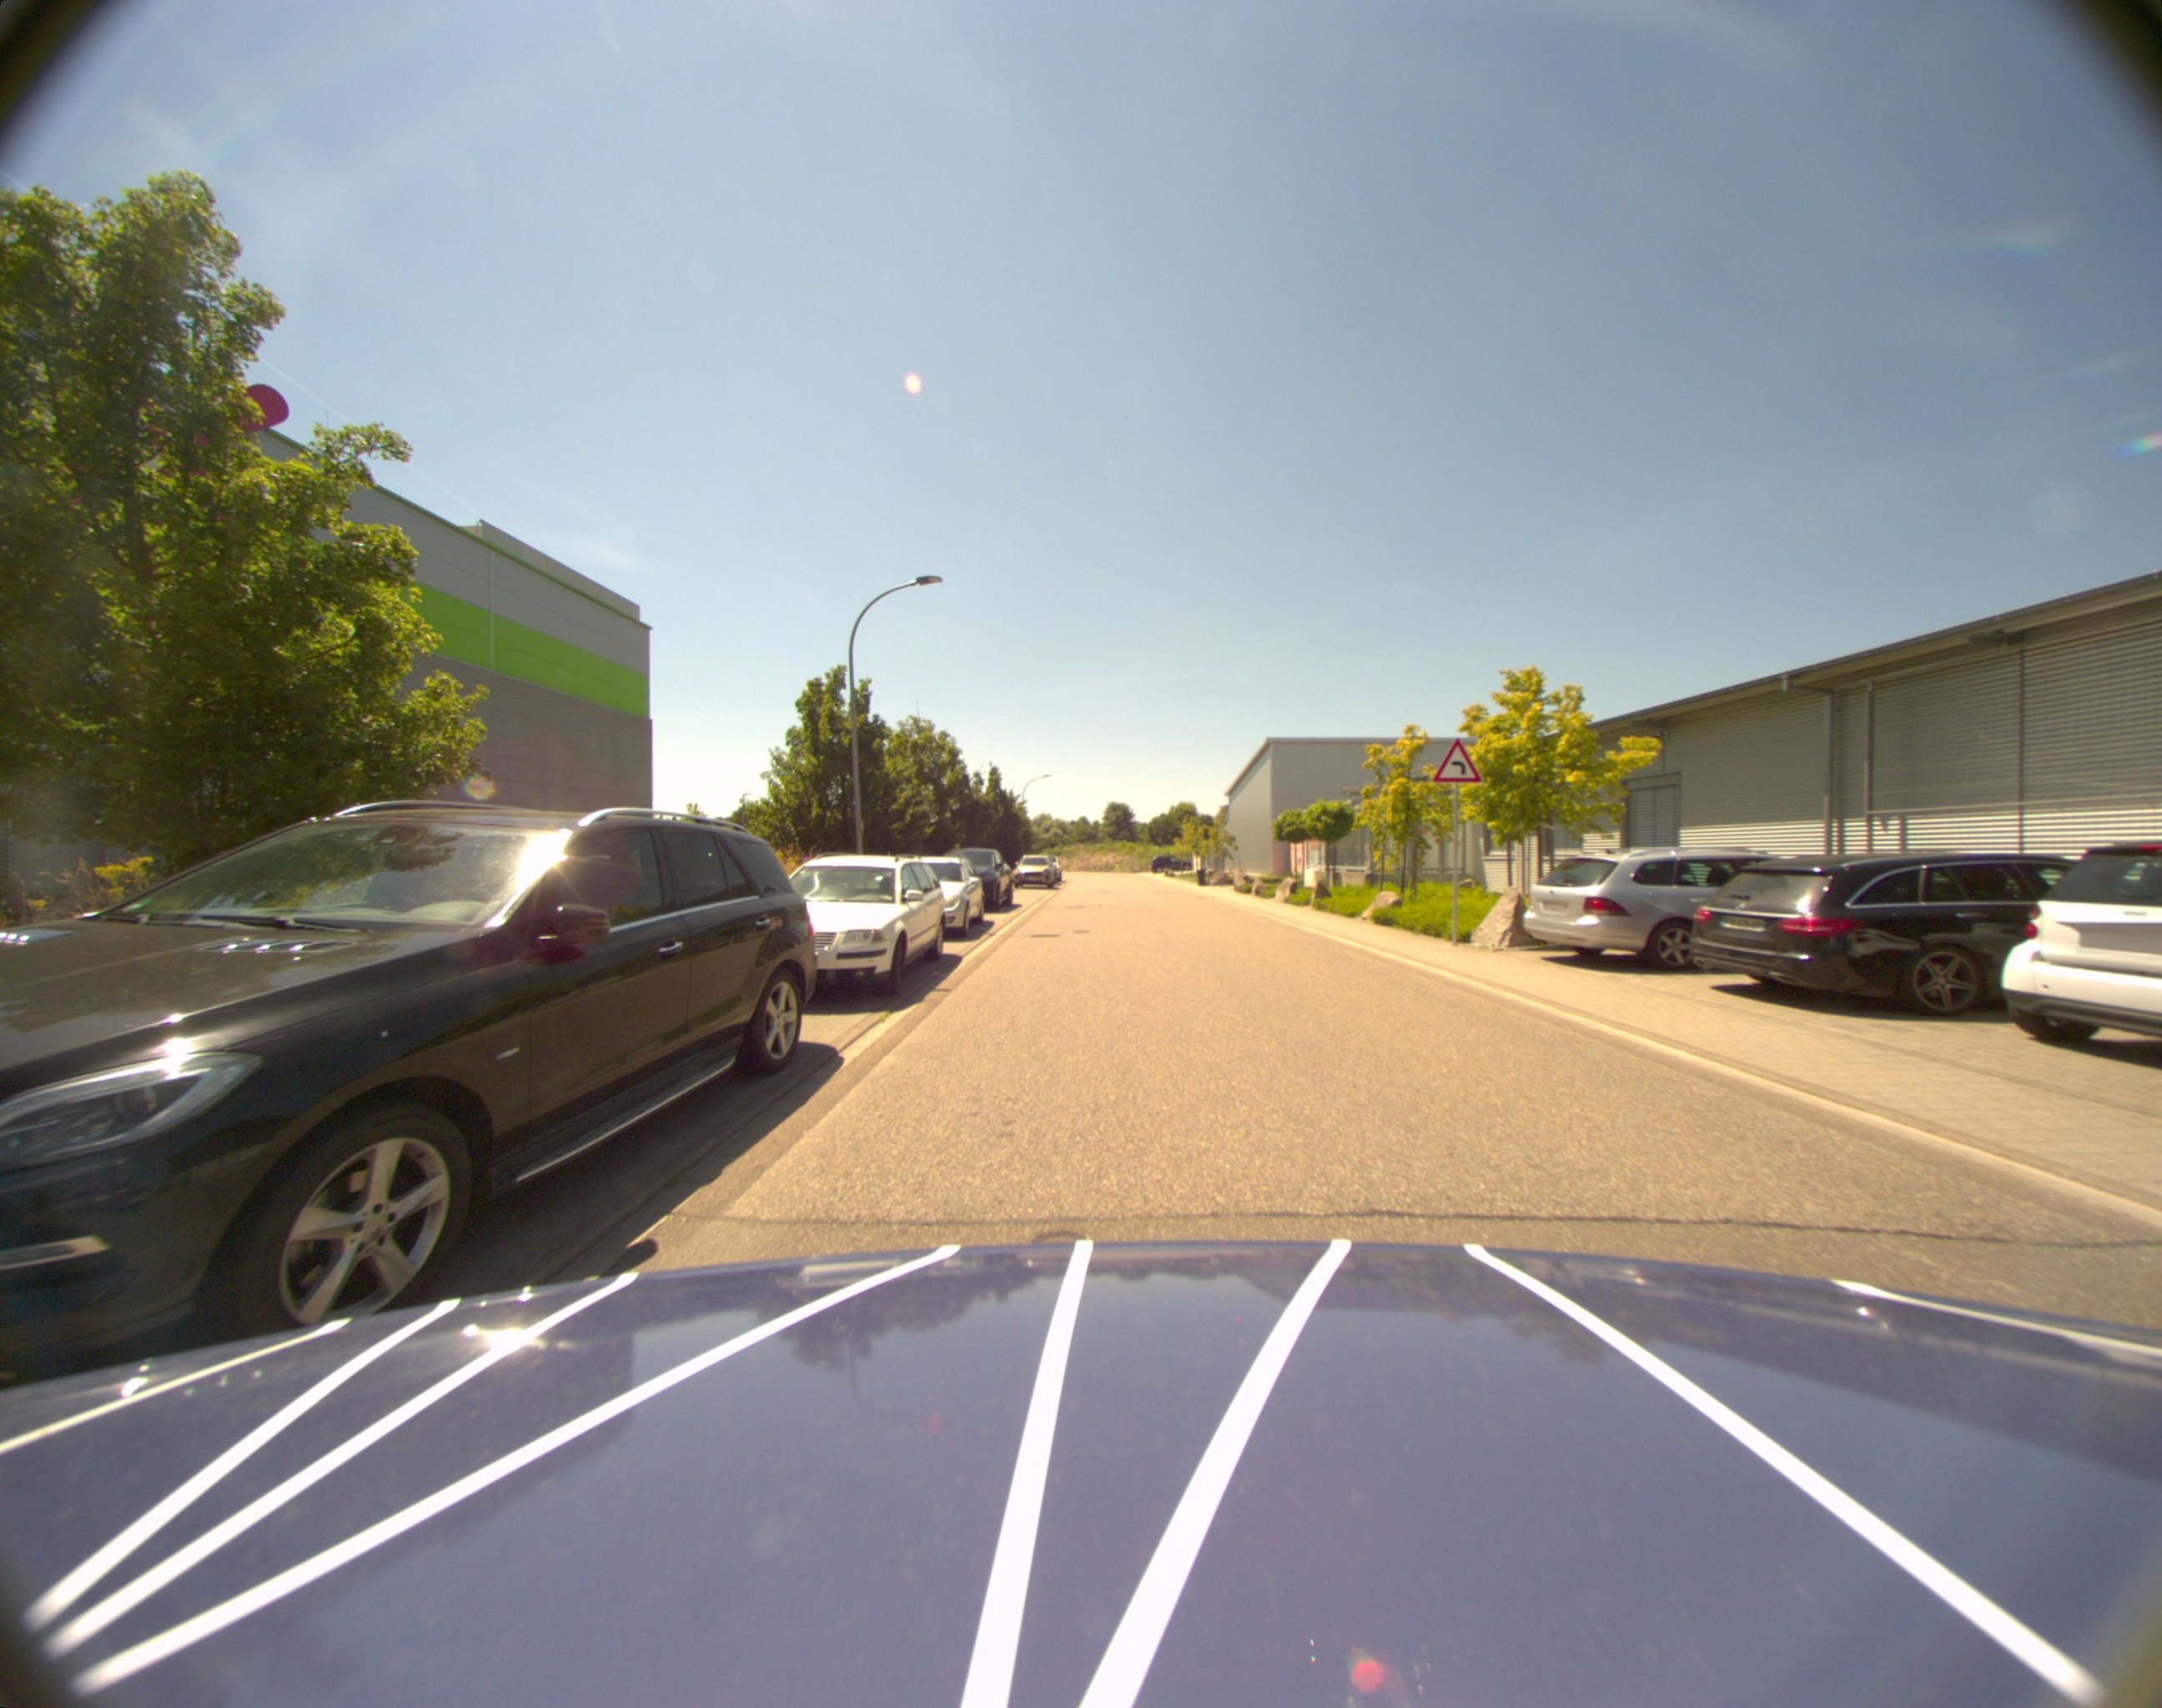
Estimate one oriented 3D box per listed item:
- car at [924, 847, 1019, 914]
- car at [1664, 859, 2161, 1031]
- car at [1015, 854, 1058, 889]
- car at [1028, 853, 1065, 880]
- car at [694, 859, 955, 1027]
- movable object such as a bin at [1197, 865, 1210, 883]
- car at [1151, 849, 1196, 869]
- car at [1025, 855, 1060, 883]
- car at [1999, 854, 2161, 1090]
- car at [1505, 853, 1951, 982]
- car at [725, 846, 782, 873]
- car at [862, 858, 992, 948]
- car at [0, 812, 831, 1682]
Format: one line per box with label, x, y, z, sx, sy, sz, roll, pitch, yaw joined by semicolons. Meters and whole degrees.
car;-3.049;0.688;22.165;1.953;1.691;4.545;2;0;2
car;8.545;0.781;7.356;4.319;1.423;1.847;0;1;2
car;-2.176;0.812;38.588;1.809;1.626;4.458;2;0;1
car;-2.245;0.801;51.015;2.149;1.688;4.785;2;0;1
car;-2.763;0.845;9.403;1.718;1.474;4.772;2;0;-2
movable object such as a bin;6.568;1.076;40.827;0.572;0.944;0.512;-1;0;-4
car;9.136;0.482;75.589;4.172;1.649;1.781;-5;1;1
car;-2.283;0.855;45.268;1.909;1.520;4.628;2;0;-3
car;8.317;0.756;4.974;2.748;1.509;1.535;0;1;0
car;8.221;0.754;9.986;4.273;1.509;1.866;0;1;0
car;-22.772;0.405;53.016;1.998;1.775;4.402;1;-1;1
car;-2.938;0.855;15.513;1.809;1.474;4.772;2;0;-2
car;-2.955;0.751;3.574;1.815;1.715;4.774;2;0;2
